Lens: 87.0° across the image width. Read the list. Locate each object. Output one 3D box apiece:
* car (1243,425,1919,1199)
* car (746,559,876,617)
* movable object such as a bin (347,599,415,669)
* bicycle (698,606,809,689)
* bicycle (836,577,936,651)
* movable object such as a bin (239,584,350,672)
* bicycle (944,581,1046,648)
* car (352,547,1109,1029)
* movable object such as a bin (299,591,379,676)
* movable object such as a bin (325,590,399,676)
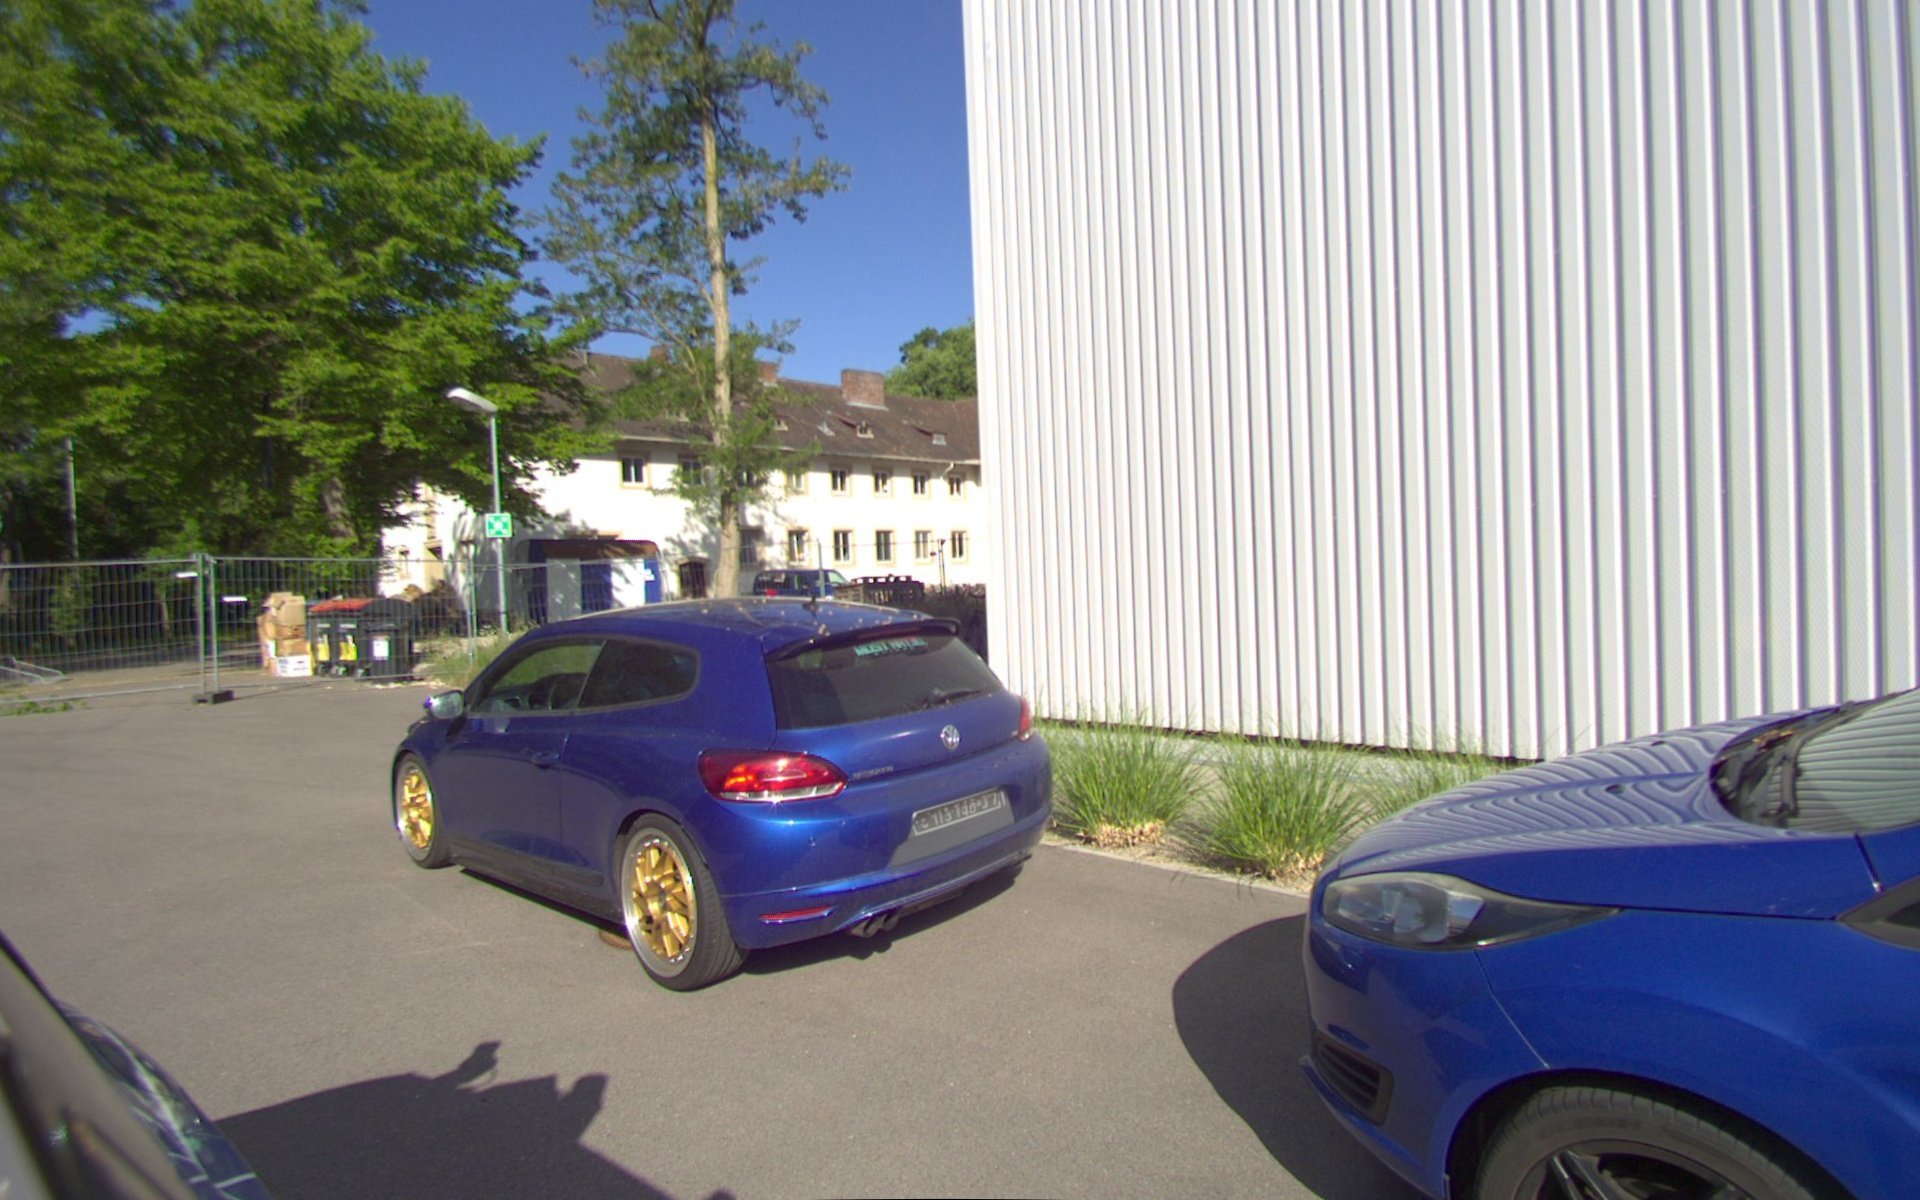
[{"bbox_3d":[2.485,0.431,1.240,3.765,1.458,1.602,-2,3,43],"label":"car"},{"bbox_3d":[-5.411,-0.406,36.322,4.722,1.916,1.973,-2,1,41],"label":"car"},{"bbox_3d":[-9.738,0.560,17.021,0.807,1.105,0.739,-4,2,-42],"label":"movable object such as a bin"},{"bbox_3d":[-2.901,0.642,14.091,1.804,1.070,0.453,-2,2,40],"label":"bicycle"},{"bbox_3d":[-1.187,0.216,15.919,0.517,1.090,1.799,-4,2,-43],"label":"bicycle"},{"bbox_3d":[-13.252,0.549,20.131,2.293,1.603,1.159,-2,2,39],"label":"movable object such as a bin"},{"bbox_3d":[0.586,0.252,17.709,1.894,1.103,0.518,-2,1,44],"label":"bicycle"},{"bbox_3d":[-1.405,0.564,4.953,3.955,1.359,1.650,-1,3,44],"label":"car"},{"bbox_3d":[-11.578,0.615,18.869,1.340,1.495,0.797,-2,2,39],"label":"movable object such as a bin"},{"bbox_3d":[-10.605,0.574,17.943,1.247,1.455,0.693,-2,2,39],"label":"movable object such as a bin"}]
